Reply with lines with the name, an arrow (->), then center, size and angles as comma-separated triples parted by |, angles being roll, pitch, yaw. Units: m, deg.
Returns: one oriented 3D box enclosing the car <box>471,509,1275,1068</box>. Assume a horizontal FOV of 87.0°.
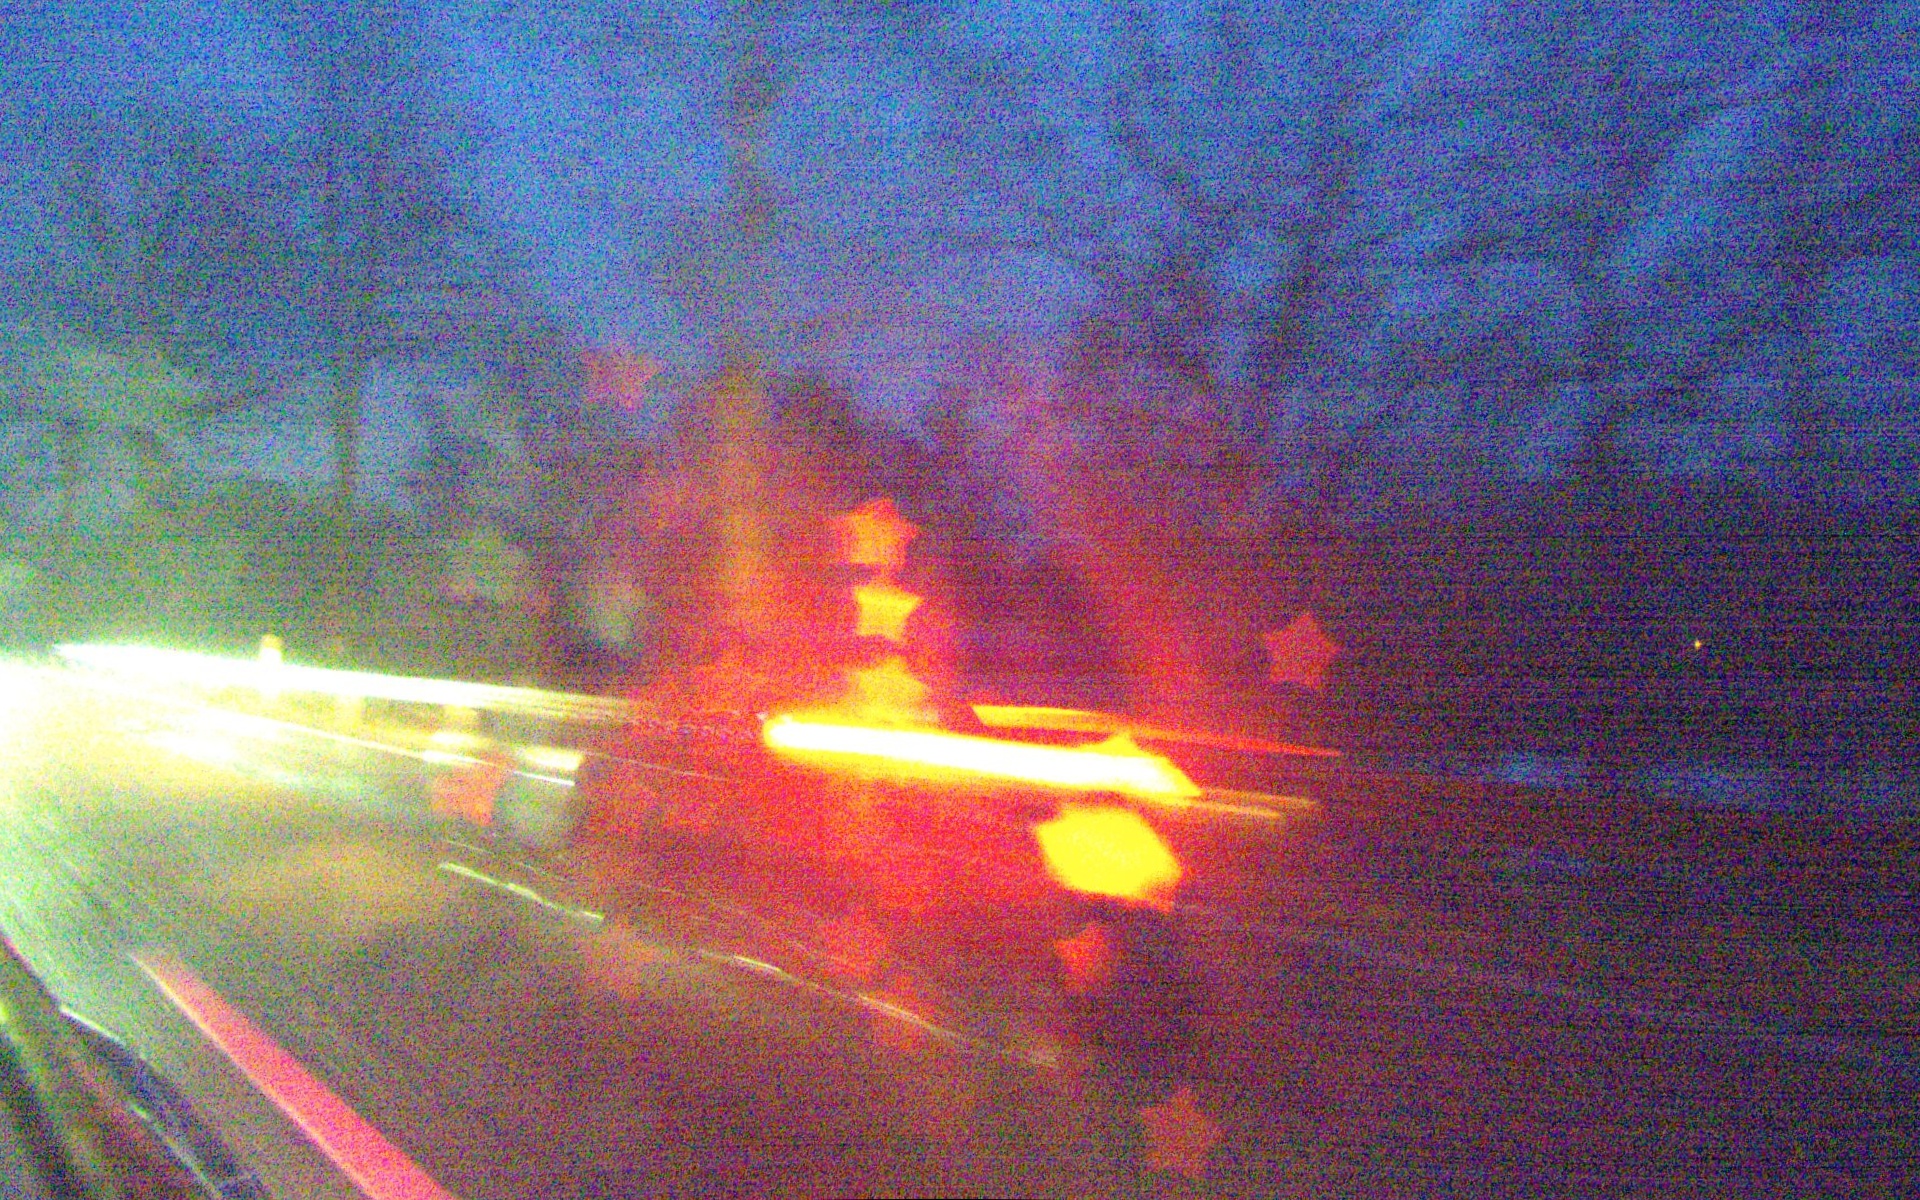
car -> -0.674, 0.641, 4.760 | 3.742, 1.593, 1.617 | -4, -4, 41
